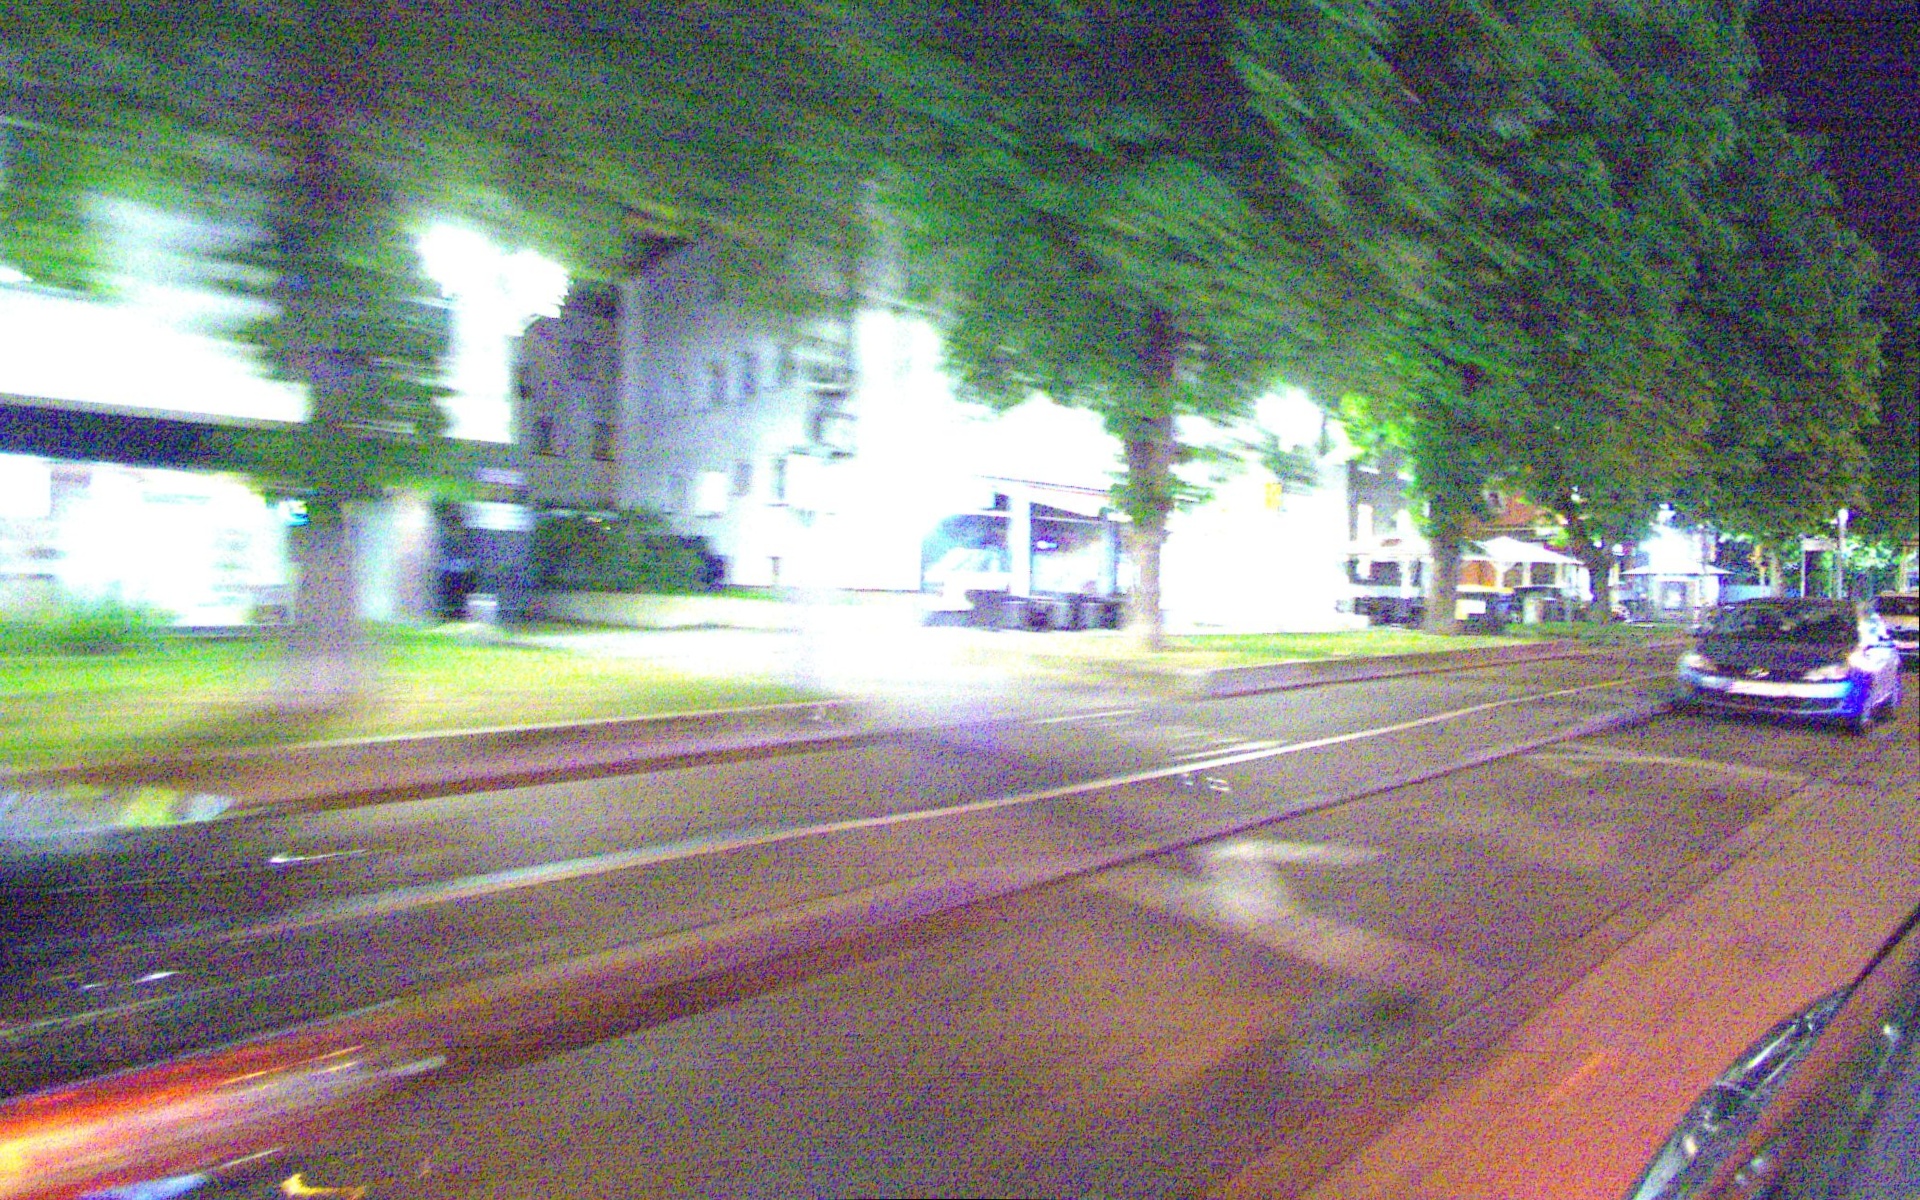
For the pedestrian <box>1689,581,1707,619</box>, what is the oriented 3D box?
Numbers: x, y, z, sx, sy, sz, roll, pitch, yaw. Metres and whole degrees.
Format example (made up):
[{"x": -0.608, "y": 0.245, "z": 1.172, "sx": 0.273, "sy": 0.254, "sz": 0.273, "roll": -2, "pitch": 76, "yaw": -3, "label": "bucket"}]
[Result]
[{"x": 31.547, "y": -0.007, "z": 43.247, "sx": 0.364, "sy": 1.607, "sz": 0.482, "roll": 1, "pitch": 1, "yaw": -6, "label": "pedestrian"}]

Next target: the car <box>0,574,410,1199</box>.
[{"x": -3.058, "y": 0.698, "z": 0.411, "sx": 4.723, "sy": 1.432, "sz": 1.768, "roll": 0, "pitch": 2, "yaw": -41, "label": "car"}]

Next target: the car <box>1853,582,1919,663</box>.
[{"x": 20.575, "y": 0.453, "z": 21.518, "sx": 4.143, "sy": 1.555, "sz": 1.774, "roll": 0, "pitch": 4, "yaw": -41, "label": "car"}]

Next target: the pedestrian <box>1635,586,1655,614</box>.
[{"x": 31.282, "y": -0.003, "z": 46.194, "sx": 0.518, "sy": 1.279, "sz": 0.503, "roll": 1, "pitch": 1, "yaw": -13, "label": "pedestrian"}]

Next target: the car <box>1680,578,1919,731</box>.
[{"x": 10.546, "y": 0.551, "z": 12.571, "sx": 3.945, "sy": 1.555, "sz": 1.693, "roll": 0, "pitch": 3, "yaw": -41, "label": "car"}]

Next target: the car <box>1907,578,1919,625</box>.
[{"x": 39.870, "y": 0.087, "z": 41.037, "sx": 4.502, "sy": 1.844, "sz": 1.791, "roll": 0, "pitch": 2, "yaw": -43, "label": "car"}]

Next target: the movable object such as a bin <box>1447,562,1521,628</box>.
[{"x": 11.347, "y": -0.121, "z": 21.919, "sx": 0.976, "sy": 1.388, "sz": 1.162, "roll": 0, "pitch": 1, "yaw": -43, "label": "movable object such as a bin"}]

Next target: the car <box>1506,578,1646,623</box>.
[{"x": 23.974, "y": -0.040, "z": 39.514, "sx": 1.772, "sy": 1.550, "sz": 4.323, "roll": -2, "pitch": 3, "yaw": -42, "label": "car"}]

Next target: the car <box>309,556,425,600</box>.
[{"x": -21.847, "y": -0.813, "z": 37.326, "sx": 3.412, "sy": 1.528, "sz": 1.791, "roll": 0, "pitch": 2, "yaw": -41, "label": "car"}]
